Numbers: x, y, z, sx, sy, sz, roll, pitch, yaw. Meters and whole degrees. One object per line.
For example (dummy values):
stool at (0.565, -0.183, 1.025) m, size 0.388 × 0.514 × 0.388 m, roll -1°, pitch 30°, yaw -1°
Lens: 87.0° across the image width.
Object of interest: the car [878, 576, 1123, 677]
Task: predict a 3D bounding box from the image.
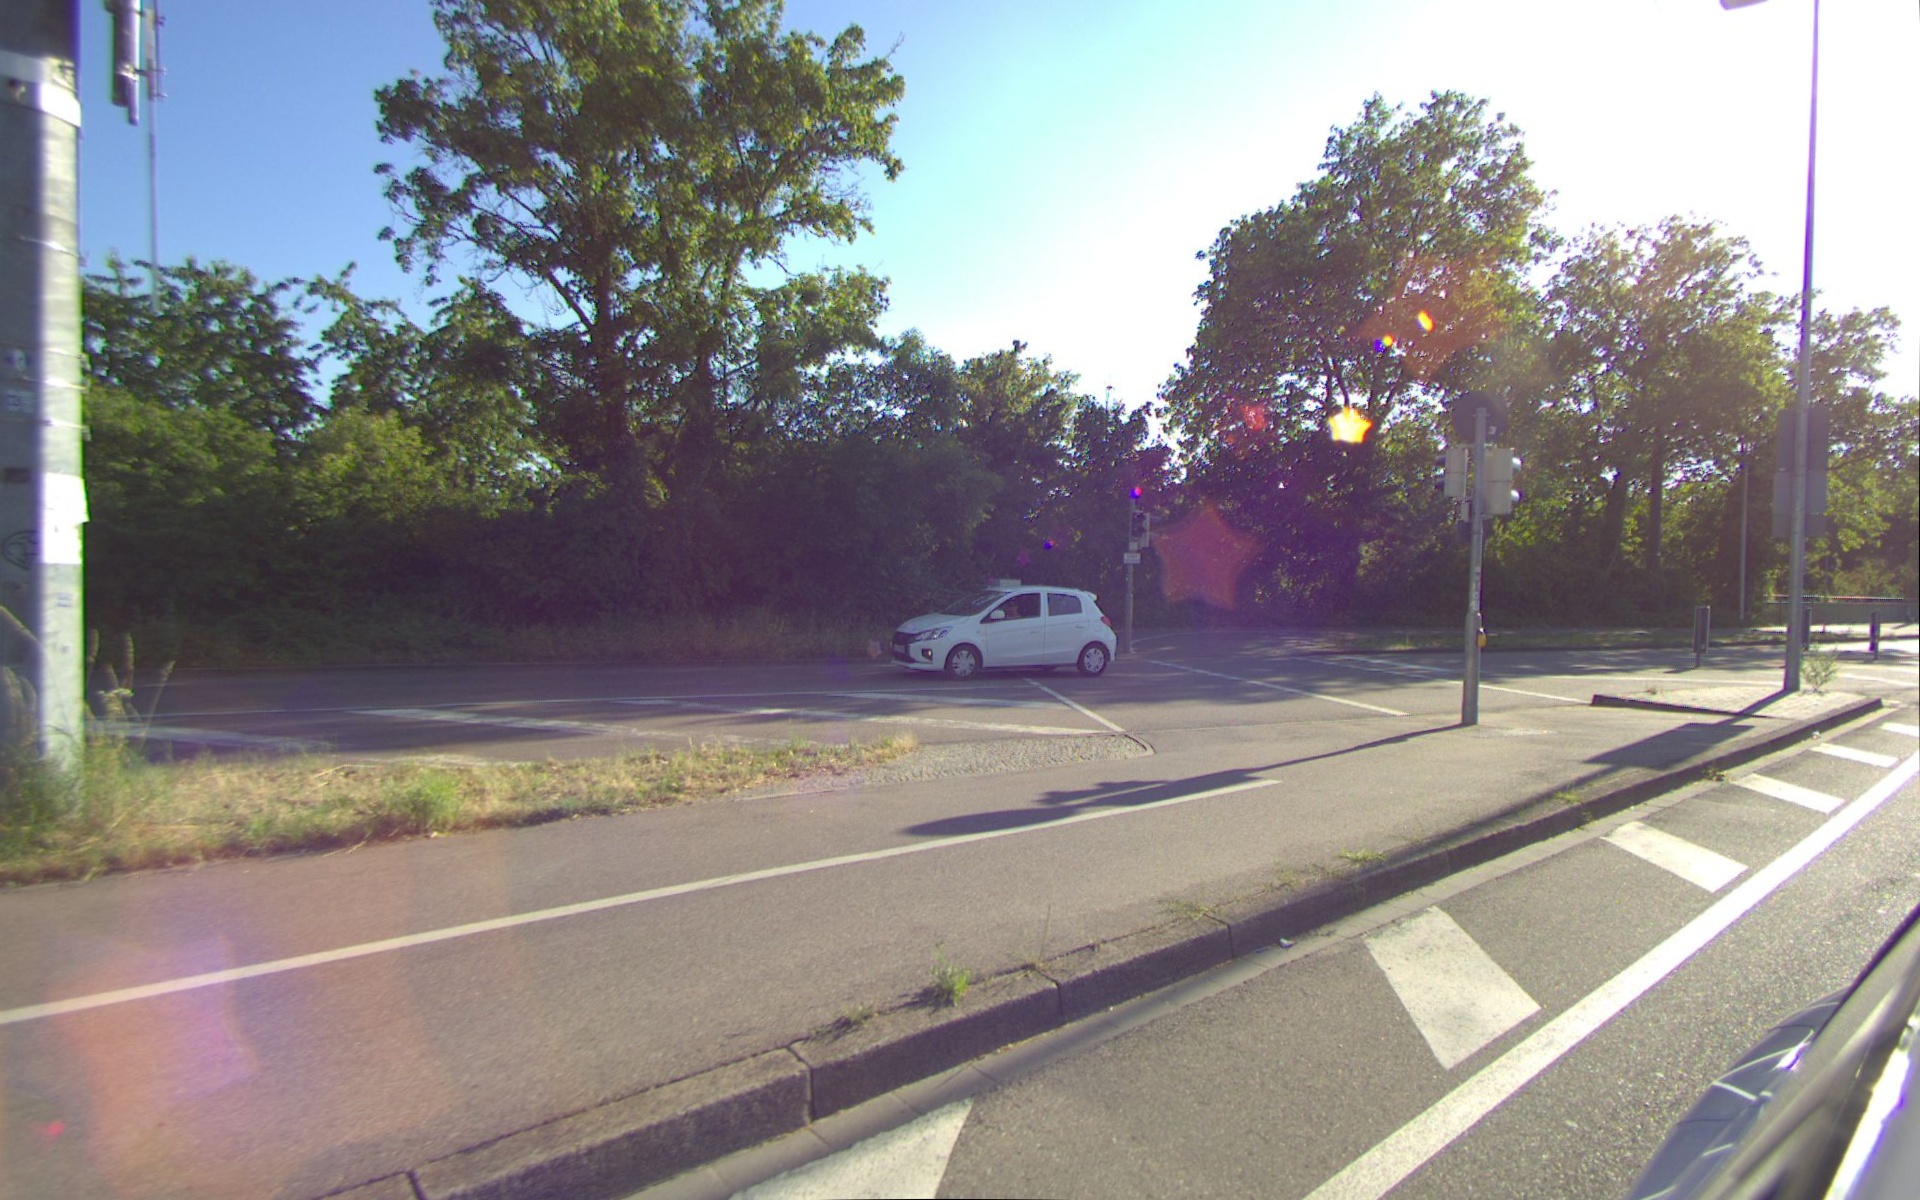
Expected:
car at (0.671, 0.381, 16.728) m, size 3.667 × 1.491 × 1.675 m, roll 0°, pitch 2°, yaw -26°

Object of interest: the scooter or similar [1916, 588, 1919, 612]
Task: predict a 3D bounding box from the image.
scooter or similar at (53.051, 0.021, 55.685) m, size 1.063 × 1.290 × 0.427 m, roll 0°, pitch 2°, yaw -39°
